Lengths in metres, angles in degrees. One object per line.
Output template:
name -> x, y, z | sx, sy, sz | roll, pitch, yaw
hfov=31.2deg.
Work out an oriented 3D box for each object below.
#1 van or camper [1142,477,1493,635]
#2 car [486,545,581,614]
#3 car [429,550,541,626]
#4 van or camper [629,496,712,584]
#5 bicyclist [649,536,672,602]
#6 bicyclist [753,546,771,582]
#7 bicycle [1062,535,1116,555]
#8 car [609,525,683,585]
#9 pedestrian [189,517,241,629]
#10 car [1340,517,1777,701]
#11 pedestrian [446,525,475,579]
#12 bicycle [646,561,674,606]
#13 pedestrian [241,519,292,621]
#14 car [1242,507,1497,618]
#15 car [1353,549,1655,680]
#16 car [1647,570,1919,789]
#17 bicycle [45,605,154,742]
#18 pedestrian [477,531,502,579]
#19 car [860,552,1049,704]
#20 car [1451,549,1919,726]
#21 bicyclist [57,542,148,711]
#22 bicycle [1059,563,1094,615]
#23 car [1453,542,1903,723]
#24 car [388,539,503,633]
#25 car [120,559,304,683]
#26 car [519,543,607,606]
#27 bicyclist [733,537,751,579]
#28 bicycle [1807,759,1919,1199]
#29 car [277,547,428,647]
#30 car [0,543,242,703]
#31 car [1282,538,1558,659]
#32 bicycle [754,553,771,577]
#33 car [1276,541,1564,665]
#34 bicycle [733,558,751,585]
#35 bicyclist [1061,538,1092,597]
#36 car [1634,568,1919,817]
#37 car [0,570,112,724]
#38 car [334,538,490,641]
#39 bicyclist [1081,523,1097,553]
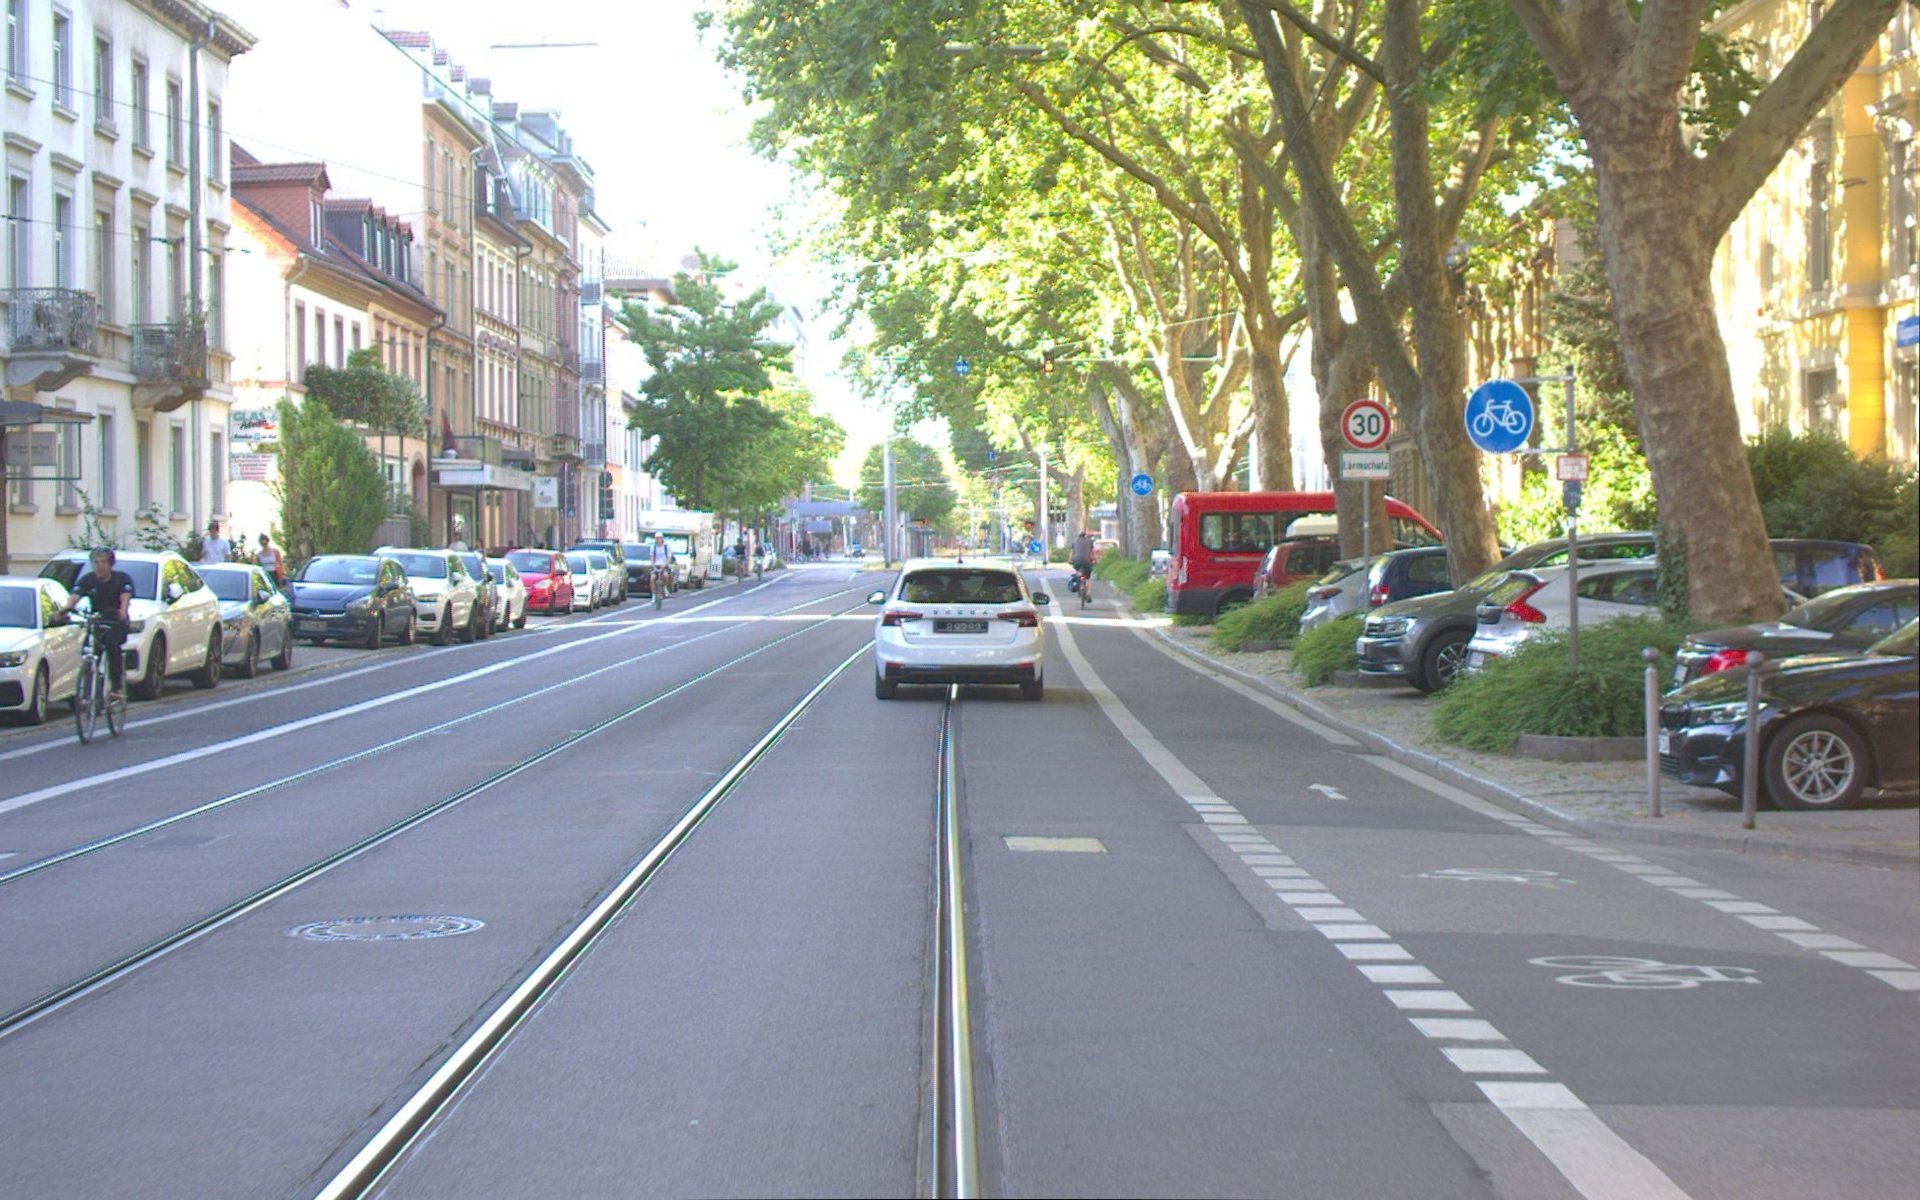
van or camper -> 6.247, -0.798, 60.607 | 5.814, 2.510, 2.288 | -2, 2, -2
car -> -10.050, -0.510, 81.214 | 1.569, 1.557, 3.448 | -1, 1, 4
car -> -9.785, -0.279, 71.045 | 1.687, 1.472, 4.258 | 1, 1, 0
van or camper -> -10.584, -2.216, 126.256 | 2.217, 3.129, 7.113 | 1, 1, 2
bicyclist -> -7.451, -0.778, 85.648 | 0.473, 1.630, 0.800 | -1, 1, 1
bicyclist -> -8.257, -1.496, 143.641 | 0.638, 1.498, 1.069 | -2, 1, 1
bicycle -> 6.728, -2.847, 179.281 | 2.772, 0.996, 0.592 | 1, 1, 15
car -> -9.835, -1.434, 107.981 | 1.964, 1.775, 4.938 | 2, 1, -2
pedestrian -> -13.396, -0.487, 61.868 | 0.759, 2.007, 0.830 | 0, 1, -2
car -> 6.374, 0.078, 36.924 | 4.262, 1.713, 1.849 | -3, 1, -2
pedestrian -> -15.130, -1.454, 104.039 | 0.771, 1.628, 0.657 | 1, 1, -15
bicycle -> -7.457, -0.416, 85.555 | 0.481, 1.082, 1.846 | -1, 1, 1
pedestrian -> -12.445, -0.536, 61.705 | 0.759, 1.815, 0.830 | 0, 1, -3
car -> 6.627, -0.594, 55.908 | 3.818, 1.643, 1.767 | -2, 0, -2
car -> 6.891, 0.176, 43.781 | 3.595, 1.594, 1.541 | -1, 0, 1
car -> 7.077, 0.539, 24.527 | 4.097, 1.486, 1.681 | 0, 1, 5
bicycle -> -7.686, 0.636, 30.784 | 0.421, 1.146, 2.232 | -1, 0, -1
pedestrian -> -14.276, -1.359, 104.310 | 0.635, 1.455, 0.657 | 1, 1, -16
car -> -0.110, 0.250, 35.840 | 1.842, 1.475, 3.839 | 1, 1, -2
car -> 6.636, 0.317, 31.357 | 4.027, 1.475, 1.681 | -1, 1, -1
bicyclist -> -7.673, 0.228, 30.777 | 0.582, 1.477, 0.807 | -1, 1, 0
bicycle -> 2.647, -0.258, 78.267 | 0.680, 1.151, 2.964 | 1, 1, 0
car -> 7.027, 0.297, 33.889 | 4.027, 1.638, 1.681 | -1, 1, -2
car -> -9.768, -0.305, 65.522 | 1.856, 1.698, 4.660 | -1, 1, -5
car -> -9.796, 0.241, 45.281 | 1.662, 1.515, 4.065 | 1, 1, -2
car -> -9.952, -0.664, 86.442 | 1.827, 1.497, 4.689 | 1, 1, -2
bicyclist -> -8.683, -1.679, 136.992 | 0.535, 1.629, 0.896 | -2, 1, 2
bicycle -> 2.488, 0.943, 7.555 | 0.595, 1.001, 2.511 | 2, 1, 0
car -> -9.739, -0.077, 55.321 | 1.554, 1.510, 3.924 | -1, 1, 2
car -> -9.734, 0.216, 39.879 | 1.786, 1.717, 4.719 | 1, 1, 0
car -> 6.563, -0.043, 49.280 | 3.670, 1.518, 1.694 | -3, 1, 0
bicycle -> -8.271, -1.461, 143.684 | 0.499, 0.940, 1.921 | -2, 1, 2
car -> 6.148, 0.023, 46.221 | 3.595, 1.512, 1.694 | -2, 1, 0
bicycle -> -8.671, -1.153, 137.013 | 0.484, 1.044, 2.039 | -2, 1, 2
bicyclist -> 2.653, -0.744, 78.327 | 0.679, 1.334, 0.525 | 1, 1, 0
car -> 6.549, 0.547, 21.933 | 4.096, 1.486, 1.831 | 0, 1, -2
car -> -9.718, 0.424, 34.438 | 1.699, 1.415, 4.001 | 1, 1, -4
car -> -9.549, -0.225, 60.250 | 1.857, 1.698, 4.763 | -1, 1, 1
bicyclist -> 6.721, -3.229, 179.280 | 0.737, 1.583, 0.586 | -1, 1, 13
